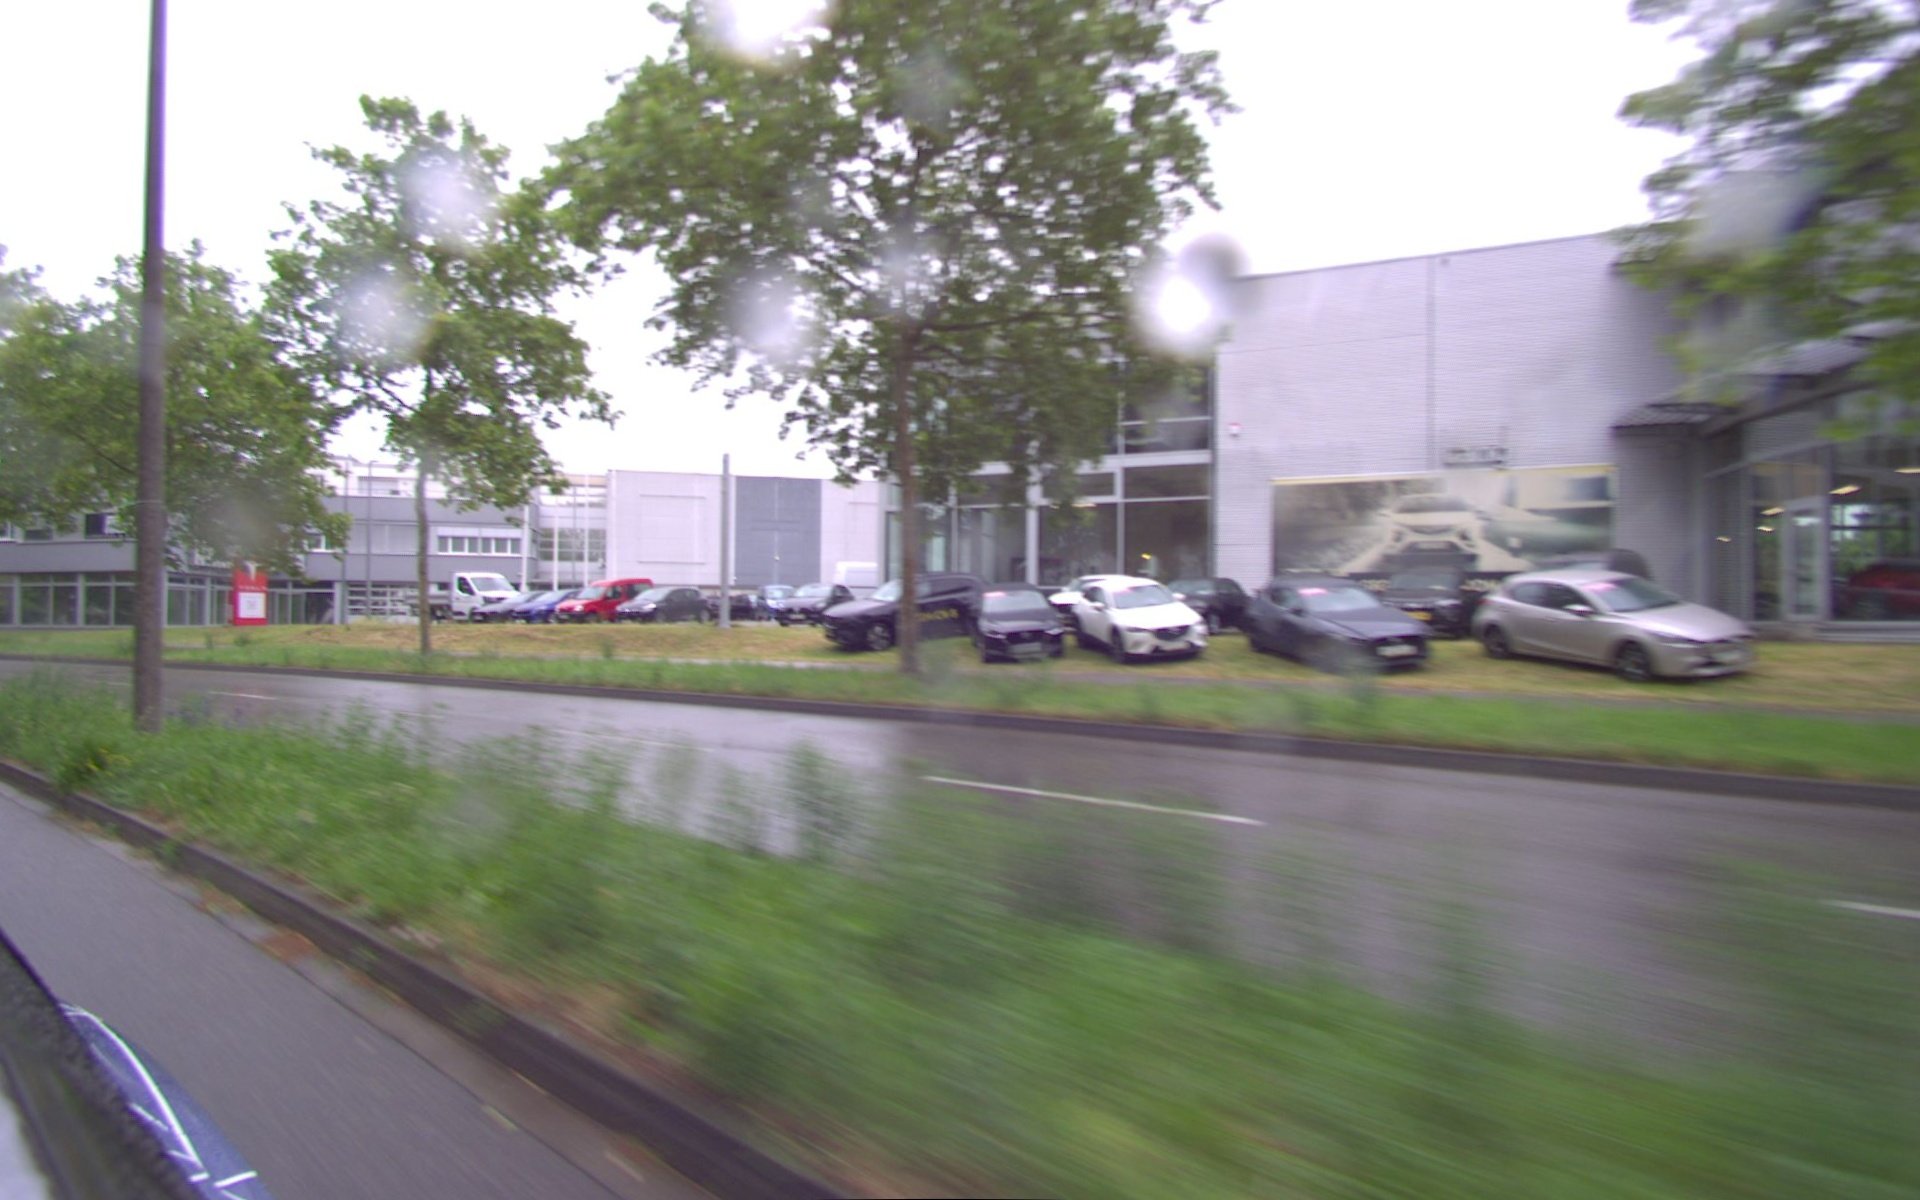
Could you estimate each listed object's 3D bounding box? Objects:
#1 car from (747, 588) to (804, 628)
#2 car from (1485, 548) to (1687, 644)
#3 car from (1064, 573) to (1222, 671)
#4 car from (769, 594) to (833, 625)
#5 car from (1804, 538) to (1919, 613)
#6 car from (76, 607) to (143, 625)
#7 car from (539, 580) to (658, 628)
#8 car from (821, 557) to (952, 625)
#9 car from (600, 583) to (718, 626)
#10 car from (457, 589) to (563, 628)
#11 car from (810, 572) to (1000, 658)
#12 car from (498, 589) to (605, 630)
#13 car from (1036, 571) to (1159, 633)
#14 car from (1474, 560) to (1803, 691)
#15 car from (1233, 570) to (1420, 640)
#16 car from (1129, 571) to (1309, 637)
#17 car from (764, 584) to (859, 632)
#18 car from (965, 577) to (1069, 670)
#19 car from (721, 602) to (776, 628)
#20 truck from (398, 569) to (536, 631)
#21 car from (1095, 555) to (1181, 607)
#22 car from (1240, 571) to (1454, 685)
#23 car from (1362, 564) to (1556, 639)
[{"bbox_3d":[-8.958,0.350,48.789,1.789,1.777,4.669,-1,1,-22],"label":"car"},{"bbox_3d":[12.777,-0.069,20.578,4.363,1.751,1.925,0,-1,-35],"label":"car"},{"bbox_3d":[3.683,0.356,21.169,1.818,1.489,4.140,-6,5,-9],"label":"car"},{"bbox_3d":[-9.479,0.585,60.243,1.741,1.741,4.161,-2,-1,-42],"label":"car"},{"bbox_3d":[19.528,-0.491,20.859,3.095,1.487,1.595,-1,-1,34],"label":"car"},{"bbox_3d":[-89.446,1.653,106.474,5.144,1.878,1.798,0,-1,-12],"label":"car"},{"bbox_3d":[-13.549,0.115,38.122,1.840,1.568,3.970,-2,1,29],"label":"car"},{"bbox_3d":[-3.235,-0.405,44.203,5.247,2.773,2.178,-1,0,-19],"label":"car"},{"bbox_3d":[-10.935,0.141,37.051,1.839,1.367,3.970,-2,1,29],"label":"car"},{"bbox_3d":[-17.937,0.328,40.504,1.761,1.336,3.500,-2,1,29],"label":"car"},{"bbox_3d":[-1.391,0.307,25.922,4.362,1.567,1.854,-8,6,-26],"label":"car"},{"bbox_3d":[-15.780,0.345,39.269,1.761,1.336,3.500,-2,1,29],"label":"car"},{"bbox_3d":[3.713,0.080,26.684,1.910,1.485,4.396,-1,-1,27],"label":"car"},{"bbox_3d":[10.195,0.255,15.614,1.755,1.486,4.012,-6,5,-14],"label":"car"},{"bbox_3d":[8.554,0.113,23.480,4.363,1.485,1.925,0,-1,-35],"label":"car"},{"bbox_3d":[6.413,0.099,24.940,4.363,1.485,1.925,0,-1,-35],"label":"car"},{"bbox_3d":[-4.812,0.217,33.365,1.828,1.367,3.995,-3,1,11],"label":"car"},{"bbox_3d":[1.176,0.438,22.703,1.821,1.489,4.134,-5,5,-2],"label":"car"},{"bbox_3d":[-12.425,0.909,59.222,1.739,1.407,4.168,-2,-1,-33],"label":"car"},{"bbox_3d":[-21.278,0.024,43.582,6.170,2.362,2.231,-2,1,31],"label":"truck"},{"bbox_3d":[5.677,-0.535,31.872,1.906,1.485,4.406,-1,-1,20],"label":"car"},{"bbox_3d":[6.772,0.392,18.228,1.819,1.432,4.137,-6,5,-6],"label":"car"},{"bbox_3d":[10.936,0.044,22.088,4.363,1.485,1.925,0,-1,-35],"label":"car"}]
